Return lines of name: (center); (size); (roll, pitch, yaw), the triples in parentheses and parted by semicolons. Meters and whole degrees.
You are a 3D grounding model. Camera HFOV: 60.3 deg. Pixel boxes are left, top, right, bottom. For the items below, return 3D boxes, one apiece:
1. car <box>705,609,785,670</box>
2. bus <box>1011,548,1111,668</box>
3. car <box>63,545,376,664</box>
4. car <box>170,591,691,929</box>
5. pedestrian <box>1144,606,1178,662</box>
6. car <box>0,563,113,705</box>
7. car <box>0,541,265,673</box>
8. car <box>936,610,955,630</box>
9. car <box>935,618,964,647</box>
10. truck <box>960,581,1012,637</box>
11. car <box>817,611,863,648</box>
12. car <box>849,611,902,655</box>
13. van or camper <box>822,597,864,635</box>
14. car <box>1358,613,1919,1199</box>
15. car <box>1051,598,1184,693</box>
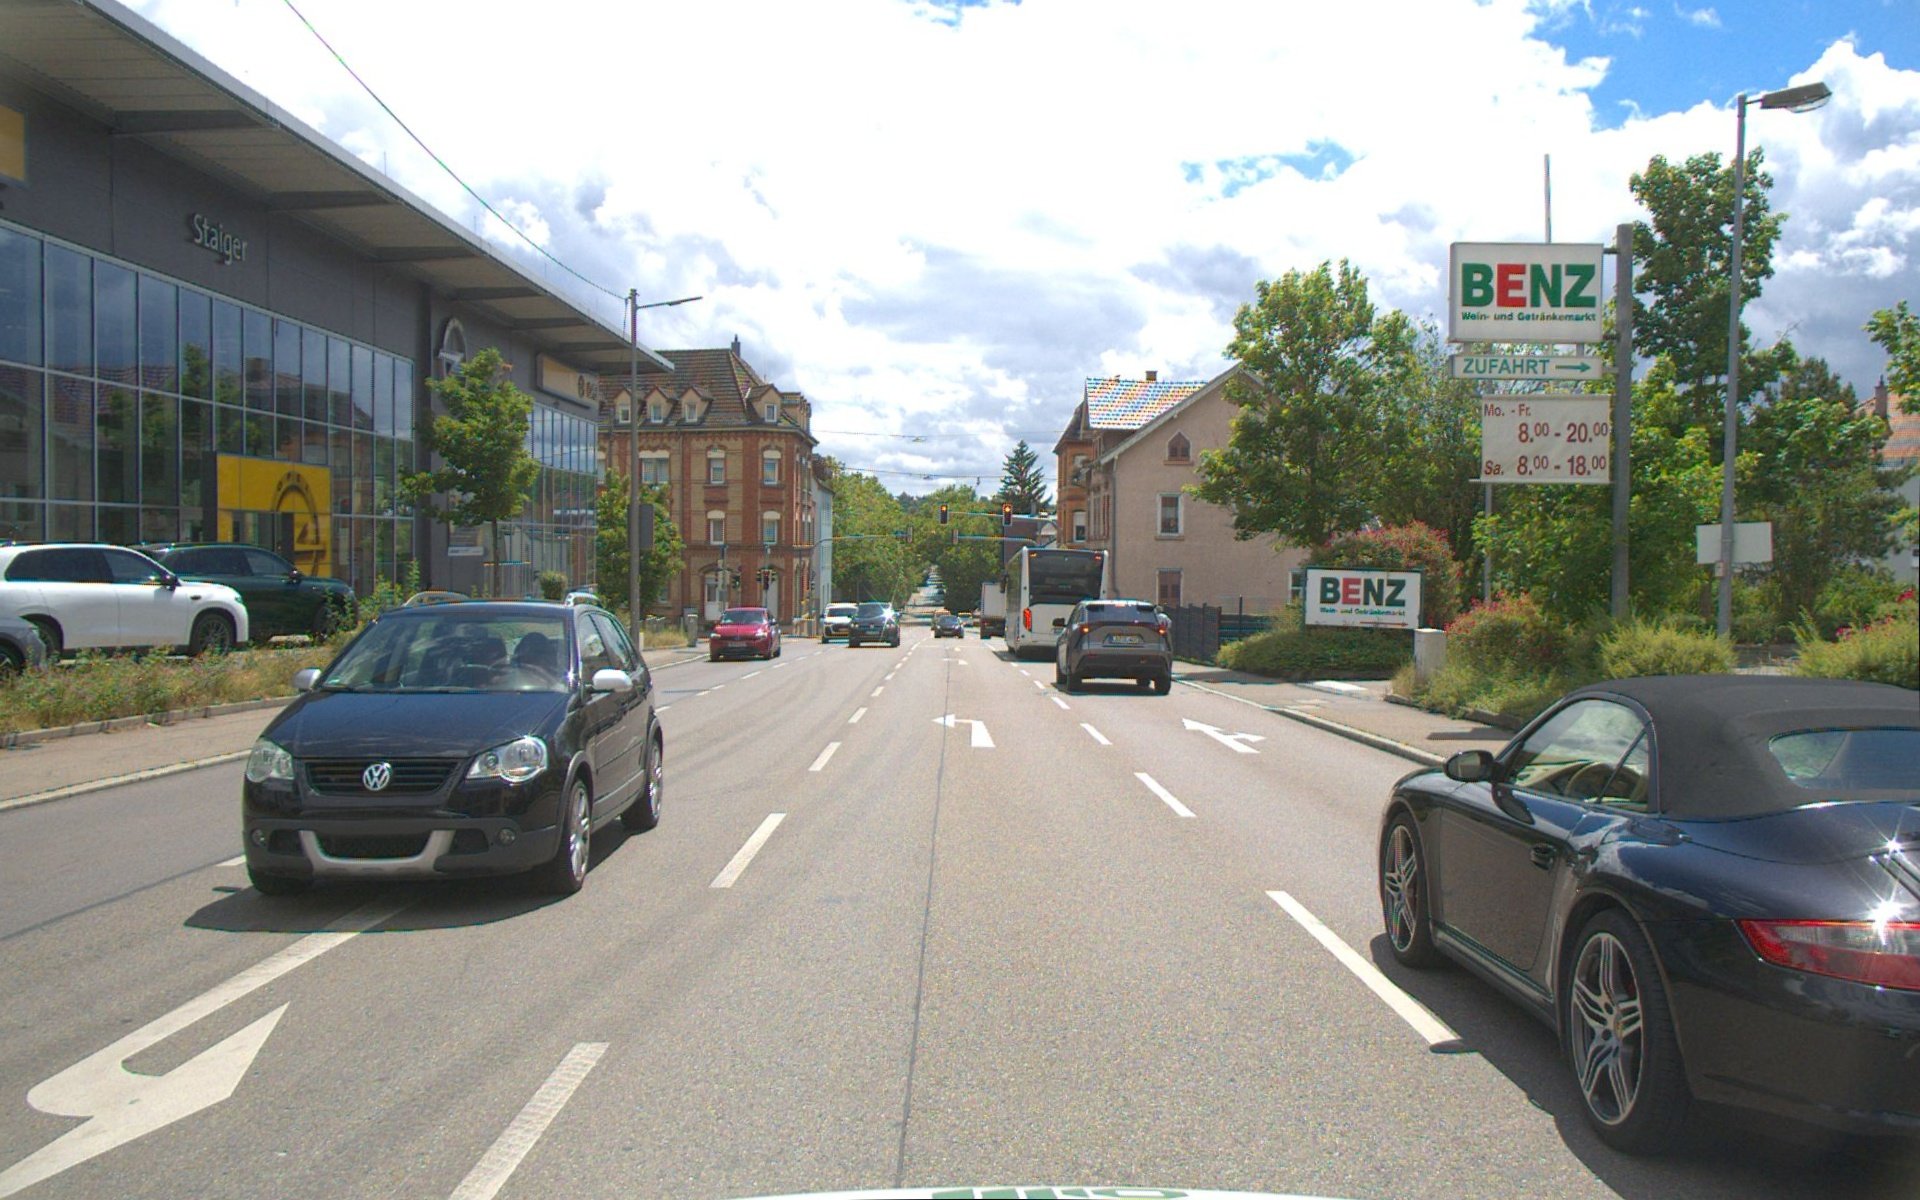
car: (-6.020, 1.087, 46.673); (1.834, 1.517, 3.847); (-3, 0, -3)
bus: (3.038, 0.041, 52.881); (2.744, 3.253, 12.200); (0, 2, 1)
car: (-11.960, -0.012, 27.055); (1.954, 1.728, 4.482); (1, 2, 25)
car: (-2.780, 0.723, 9.751); (1.792, 1.535, 4.275); (0, 0, -2)
pedestrian: (5.930, 0.985, 48.817); (0.796, 1.609, 1.069); (-2, 0, -1)
car: (-11.585, 0.401, 17.141); (1.858, 1.475, 4.827); (2, 2, 27)
car: (-11.814, 0.085, 22.211); (1.891, 1.600, 4.552); (0, 0, 23)
car: (-1.501, 2.044, 169.913); (1.795, 1.914, 3.999); (0, 1, -2)
car: (-0.672, 2.028, 104.160); (1.826, 1.695, 4.258); (0, 0, -1)
truck: (1.469, 0.504, 98.782); (2.613, 3.162, 9.031); (-1, 0, -2)
car: (-5.362, 1.312, 74.346); (1.826, 1.567, 4.105); (0, 0, -2)
car: (-3.119, 1.222, 61.949); (1.826, 1.567, 4.106); (0, 0, -1)
van or camper: (-6.219, 0.846, 88.134); (1.930, 1.948, 5.127); (0, 0, -1)
car: (2.809, 0.852, 5.660); (1.891, 1.400, 4.209); (0, 2, 0)
car: (2.804, 0.816, 30.275); (1.892, 1.611, 4.206); (0, -1, -2)
